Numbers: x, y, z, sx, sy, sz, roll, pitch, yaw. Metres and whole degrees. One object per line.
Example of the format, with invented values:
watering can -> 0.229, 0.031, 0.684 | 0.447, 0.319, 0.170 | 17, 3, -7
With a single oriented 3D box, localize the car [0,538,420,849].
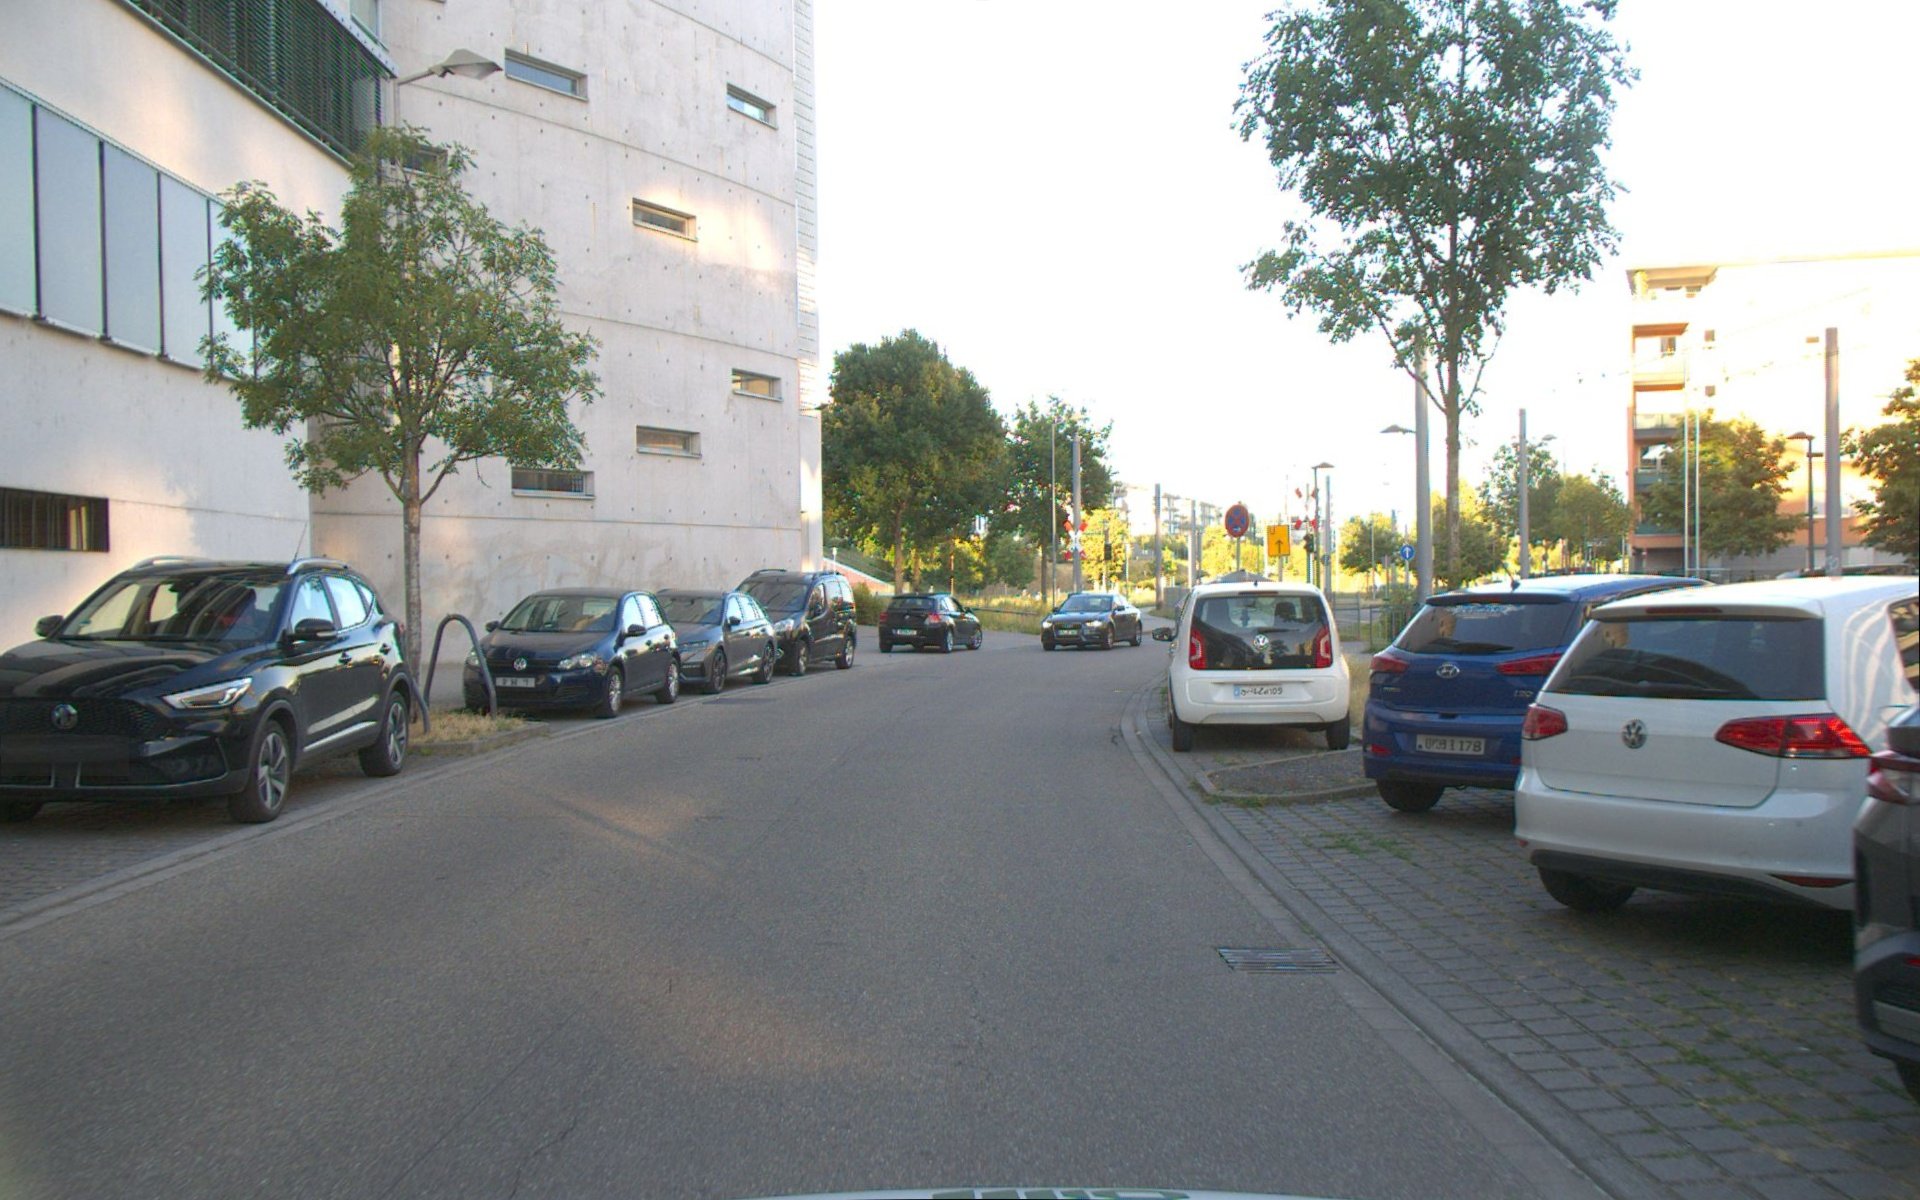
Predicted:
car -> -5.058, 0.464, 10.997 | 1.720, 1.682, 3.947 | 1, 1, -2

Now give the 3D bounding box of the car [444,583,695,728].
car -> -4.587, 0.578, 20.079 | 1.686, 1.482, 4.274 | 1, 1, 5

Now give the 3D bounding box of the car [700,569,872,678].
car -> -3.115, 0.364, 30.564 | 1.720, 1.830, 4.467 | 2, 1, 14

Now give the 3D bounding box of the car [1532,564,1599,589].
car -> 39.867, -1.540, 108.924 | 4.070, 1.603, 1.702 | 0, 1, 24

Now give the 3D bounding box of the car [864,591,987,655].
car -> -0.789, 0.517, 41.001 | 1.903, 1.406, 4.403 | 2, 1, 15

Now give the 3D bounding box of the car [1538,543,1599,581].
car -> 43.936, -2.738, 119.421 | 4.067, 2.629, 1.703 | -1, 0, 21

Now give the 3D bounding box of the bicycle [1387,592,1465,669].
bicycle -> 6.950, 0.439, 24.733 | 0.747, 1.101, 1.690 | -1, 1, 2

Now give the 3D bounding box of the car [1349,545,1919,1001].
car -> 3.921, 0.554, 7.666 | 3.882, 1.535, 1.936 | -3, 1, -32

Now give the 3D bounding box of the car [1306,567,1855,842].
car -> 4.234, 0.578, 11.117 | 3.711, 1.535, 1.667 | 0, 1, -35

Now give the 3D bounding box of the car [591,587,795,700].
car -> -3.951, 0.578, 25.344 | 1.686, 1.482, 4.698 | 1, 1, 9

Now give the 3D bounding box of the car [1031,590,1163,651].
car -> 3.607, 0.485, 42.849 | 1.744, 1.447, 4.508 | 0, 1, 29

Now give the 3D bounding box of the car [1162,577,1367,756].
car -> 2.840, 0.552, 16.027 | 1.686, 1.493, 3.556 | -1, 1, 7

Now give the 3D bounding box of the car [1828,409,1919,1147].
car -> 4.186, 0.442, 4.443 | 3.734, 1.756, 1.743 | 0, 1, -34
